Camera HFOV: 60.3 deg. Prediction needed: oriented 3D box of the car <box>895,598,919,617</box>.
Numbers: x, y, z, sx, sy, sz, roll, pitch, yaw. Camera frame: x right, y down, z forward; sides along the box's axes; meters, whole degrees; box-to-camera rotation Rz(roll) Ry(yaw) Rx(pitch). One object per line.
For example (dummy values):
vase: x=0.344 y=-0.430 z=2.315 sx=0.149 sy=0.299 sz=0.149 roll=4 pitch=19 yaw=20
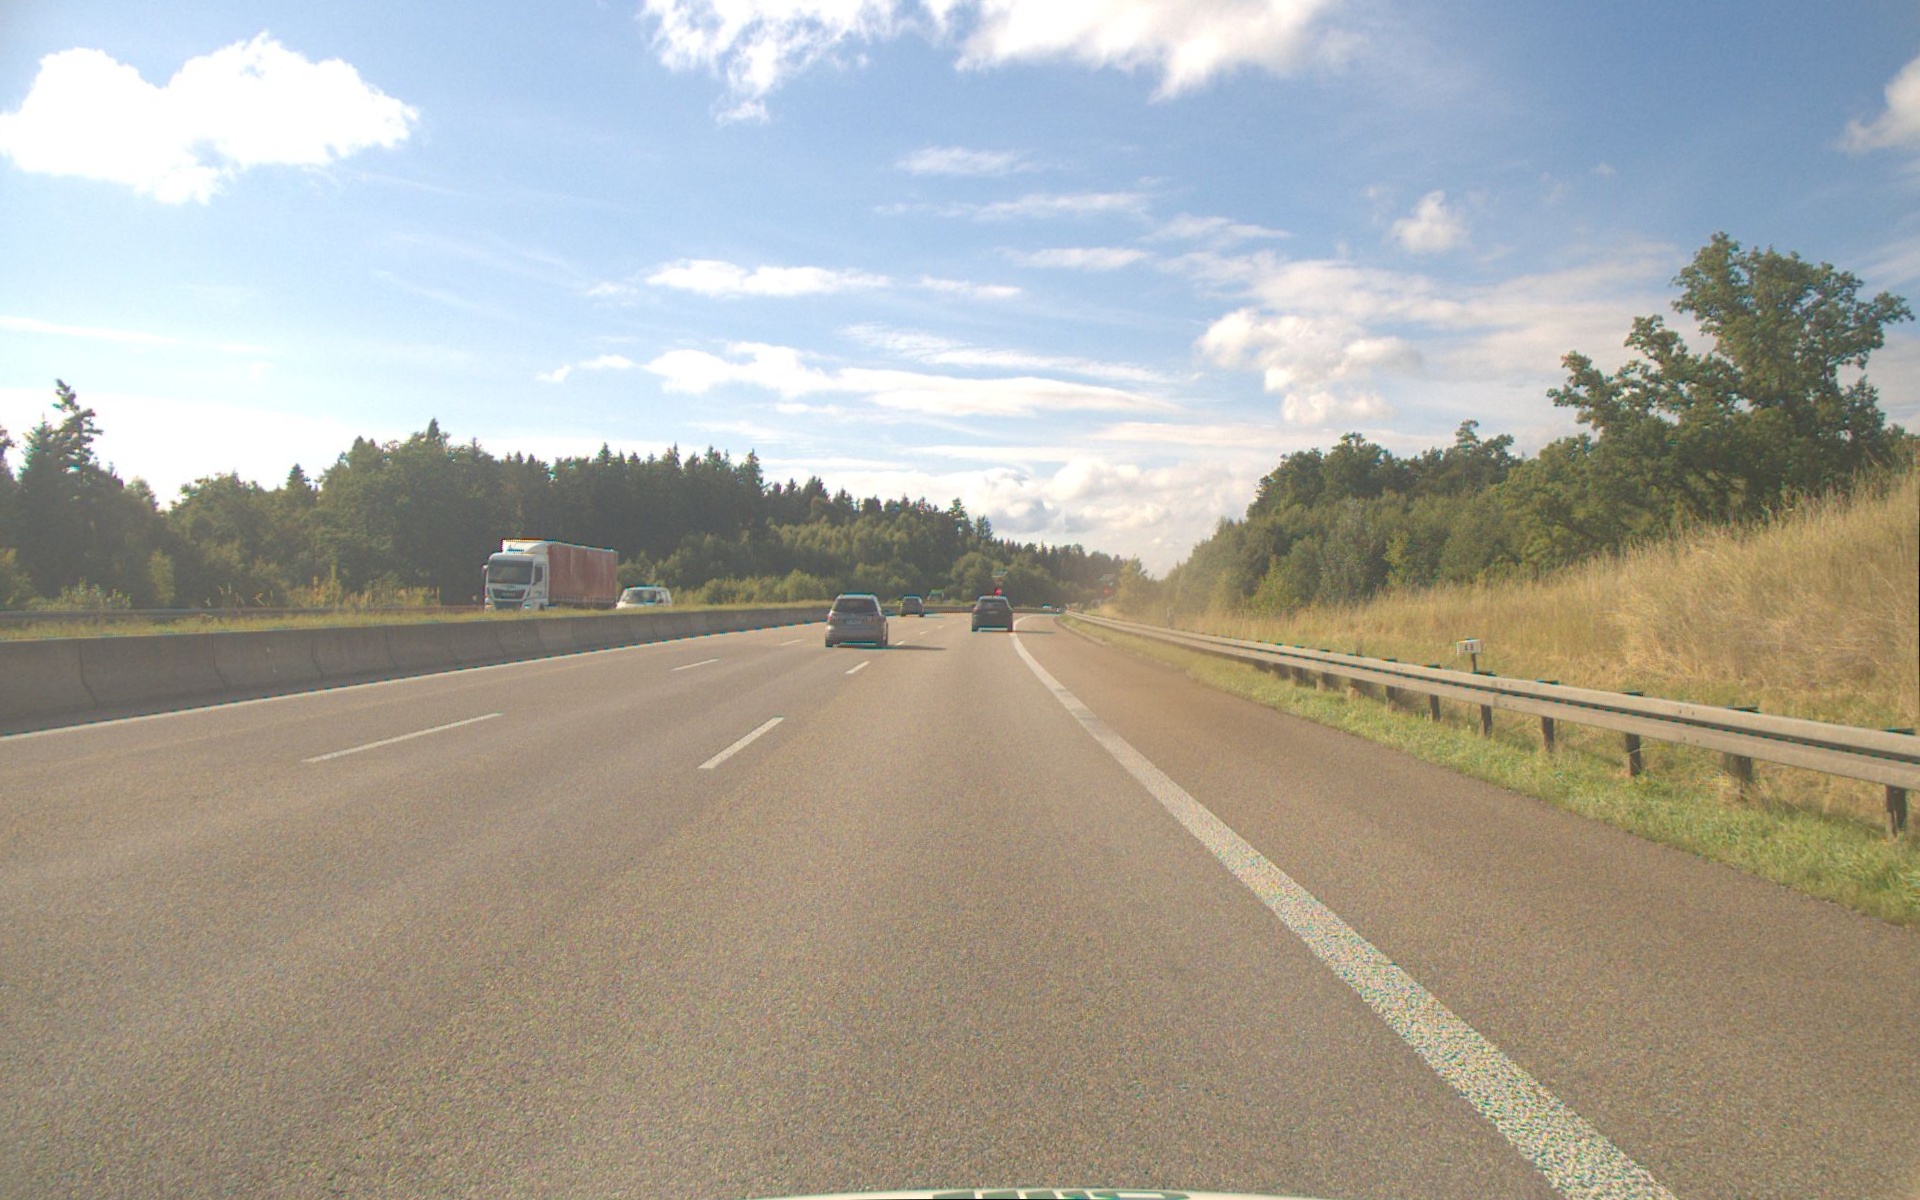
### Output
car: x=-4.431 y=0.601 z=137.997 sx=1.835 sy=1.523 sz=3.880 roll=1 pitch=0 yaw=1

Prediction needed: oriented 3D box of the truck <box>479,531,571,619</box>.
truck: x=-21.616 y=-1.212 z=82.483 sx=2.962 sy=4.180 sz=5.669 roll=1 pitch=0 yaw=1

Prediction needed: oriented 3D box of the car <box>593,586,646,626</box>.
car: x=-18.303 y=0.311 z=89.028 sx=1.952 sy=2.049 sz=4.000 roll=1 pitch=0 yaw=1

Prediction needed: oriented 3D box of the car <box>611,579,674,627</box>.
car: x=-14.217 y=0.121 z=74.293 sx=1.952 sy=2.049 sz=4.353 roll=1 pitch=0 yaw=0

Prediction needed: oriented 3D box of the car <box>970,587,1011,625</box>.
car: x=1.426 y=0.279 z=77.258 sx=1.835 sy=1.704 sz=3.890 roll=1 pitch=0 yaw=1

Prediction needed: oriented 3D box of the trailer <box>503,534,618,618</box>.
trailer: x=-21.503 y=-1.225 z=89.976 sx=2.959 sy=4.180 sz=12.793 roll=1 pitch=0 yaw=1

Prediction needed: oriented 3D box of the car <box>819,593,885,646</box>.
car: x=-3.244 y=0.567 z=50.292 sx=1.836 sy=1.523 sz=3.879 roll=1 pitch=0 yaw=-2
